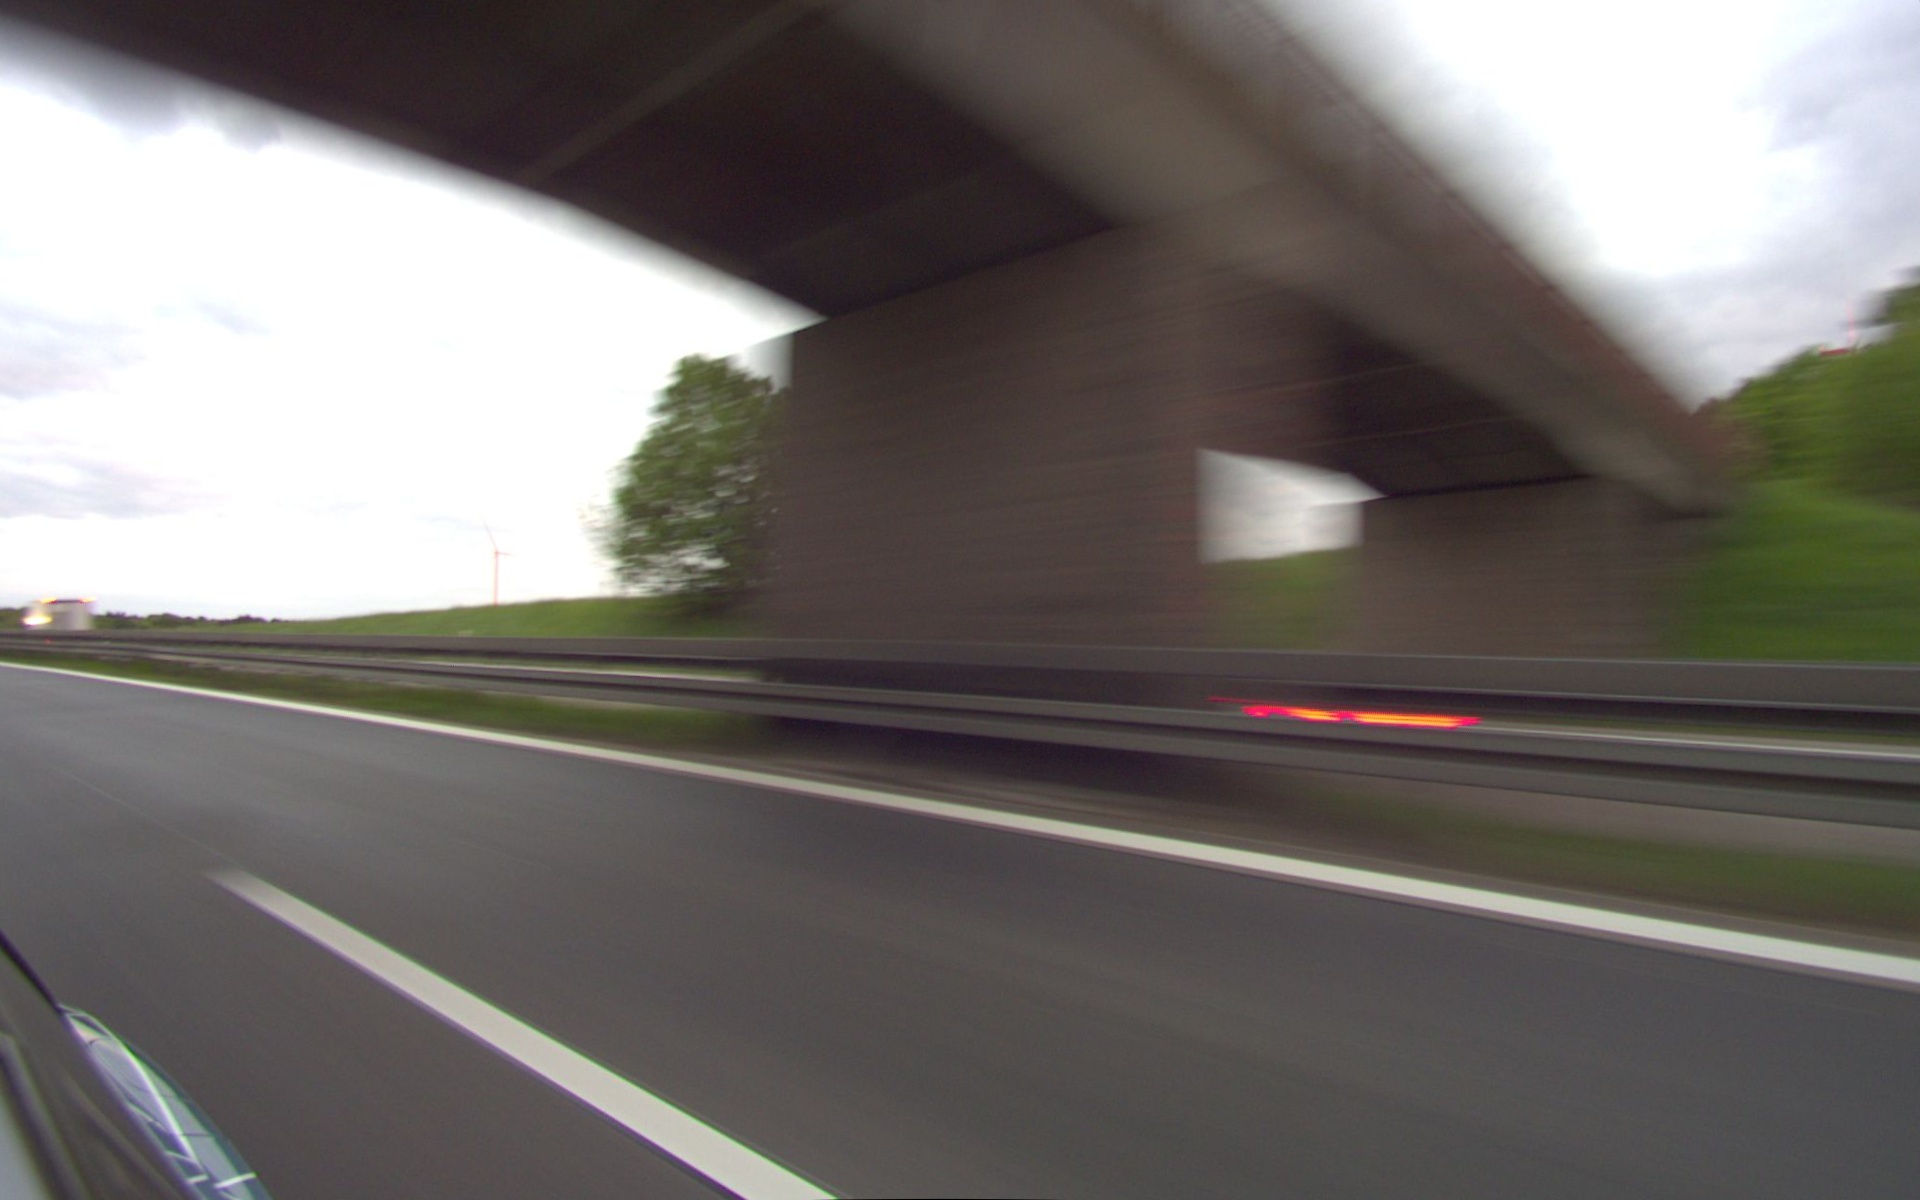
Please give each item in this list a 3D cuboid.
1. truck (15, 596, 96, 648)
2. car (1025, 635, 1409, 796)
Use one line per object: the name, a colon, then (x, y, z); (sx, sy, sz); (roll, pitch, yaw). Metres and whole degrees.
truck: (-57.368, 1.377, 64.158); (6.656, 3.133, 2.588); (-1, -1, 37)
car: (2.893, 1.201, 11.866); (3.998, 1.430, 1.716); (-1, 2, 41)
